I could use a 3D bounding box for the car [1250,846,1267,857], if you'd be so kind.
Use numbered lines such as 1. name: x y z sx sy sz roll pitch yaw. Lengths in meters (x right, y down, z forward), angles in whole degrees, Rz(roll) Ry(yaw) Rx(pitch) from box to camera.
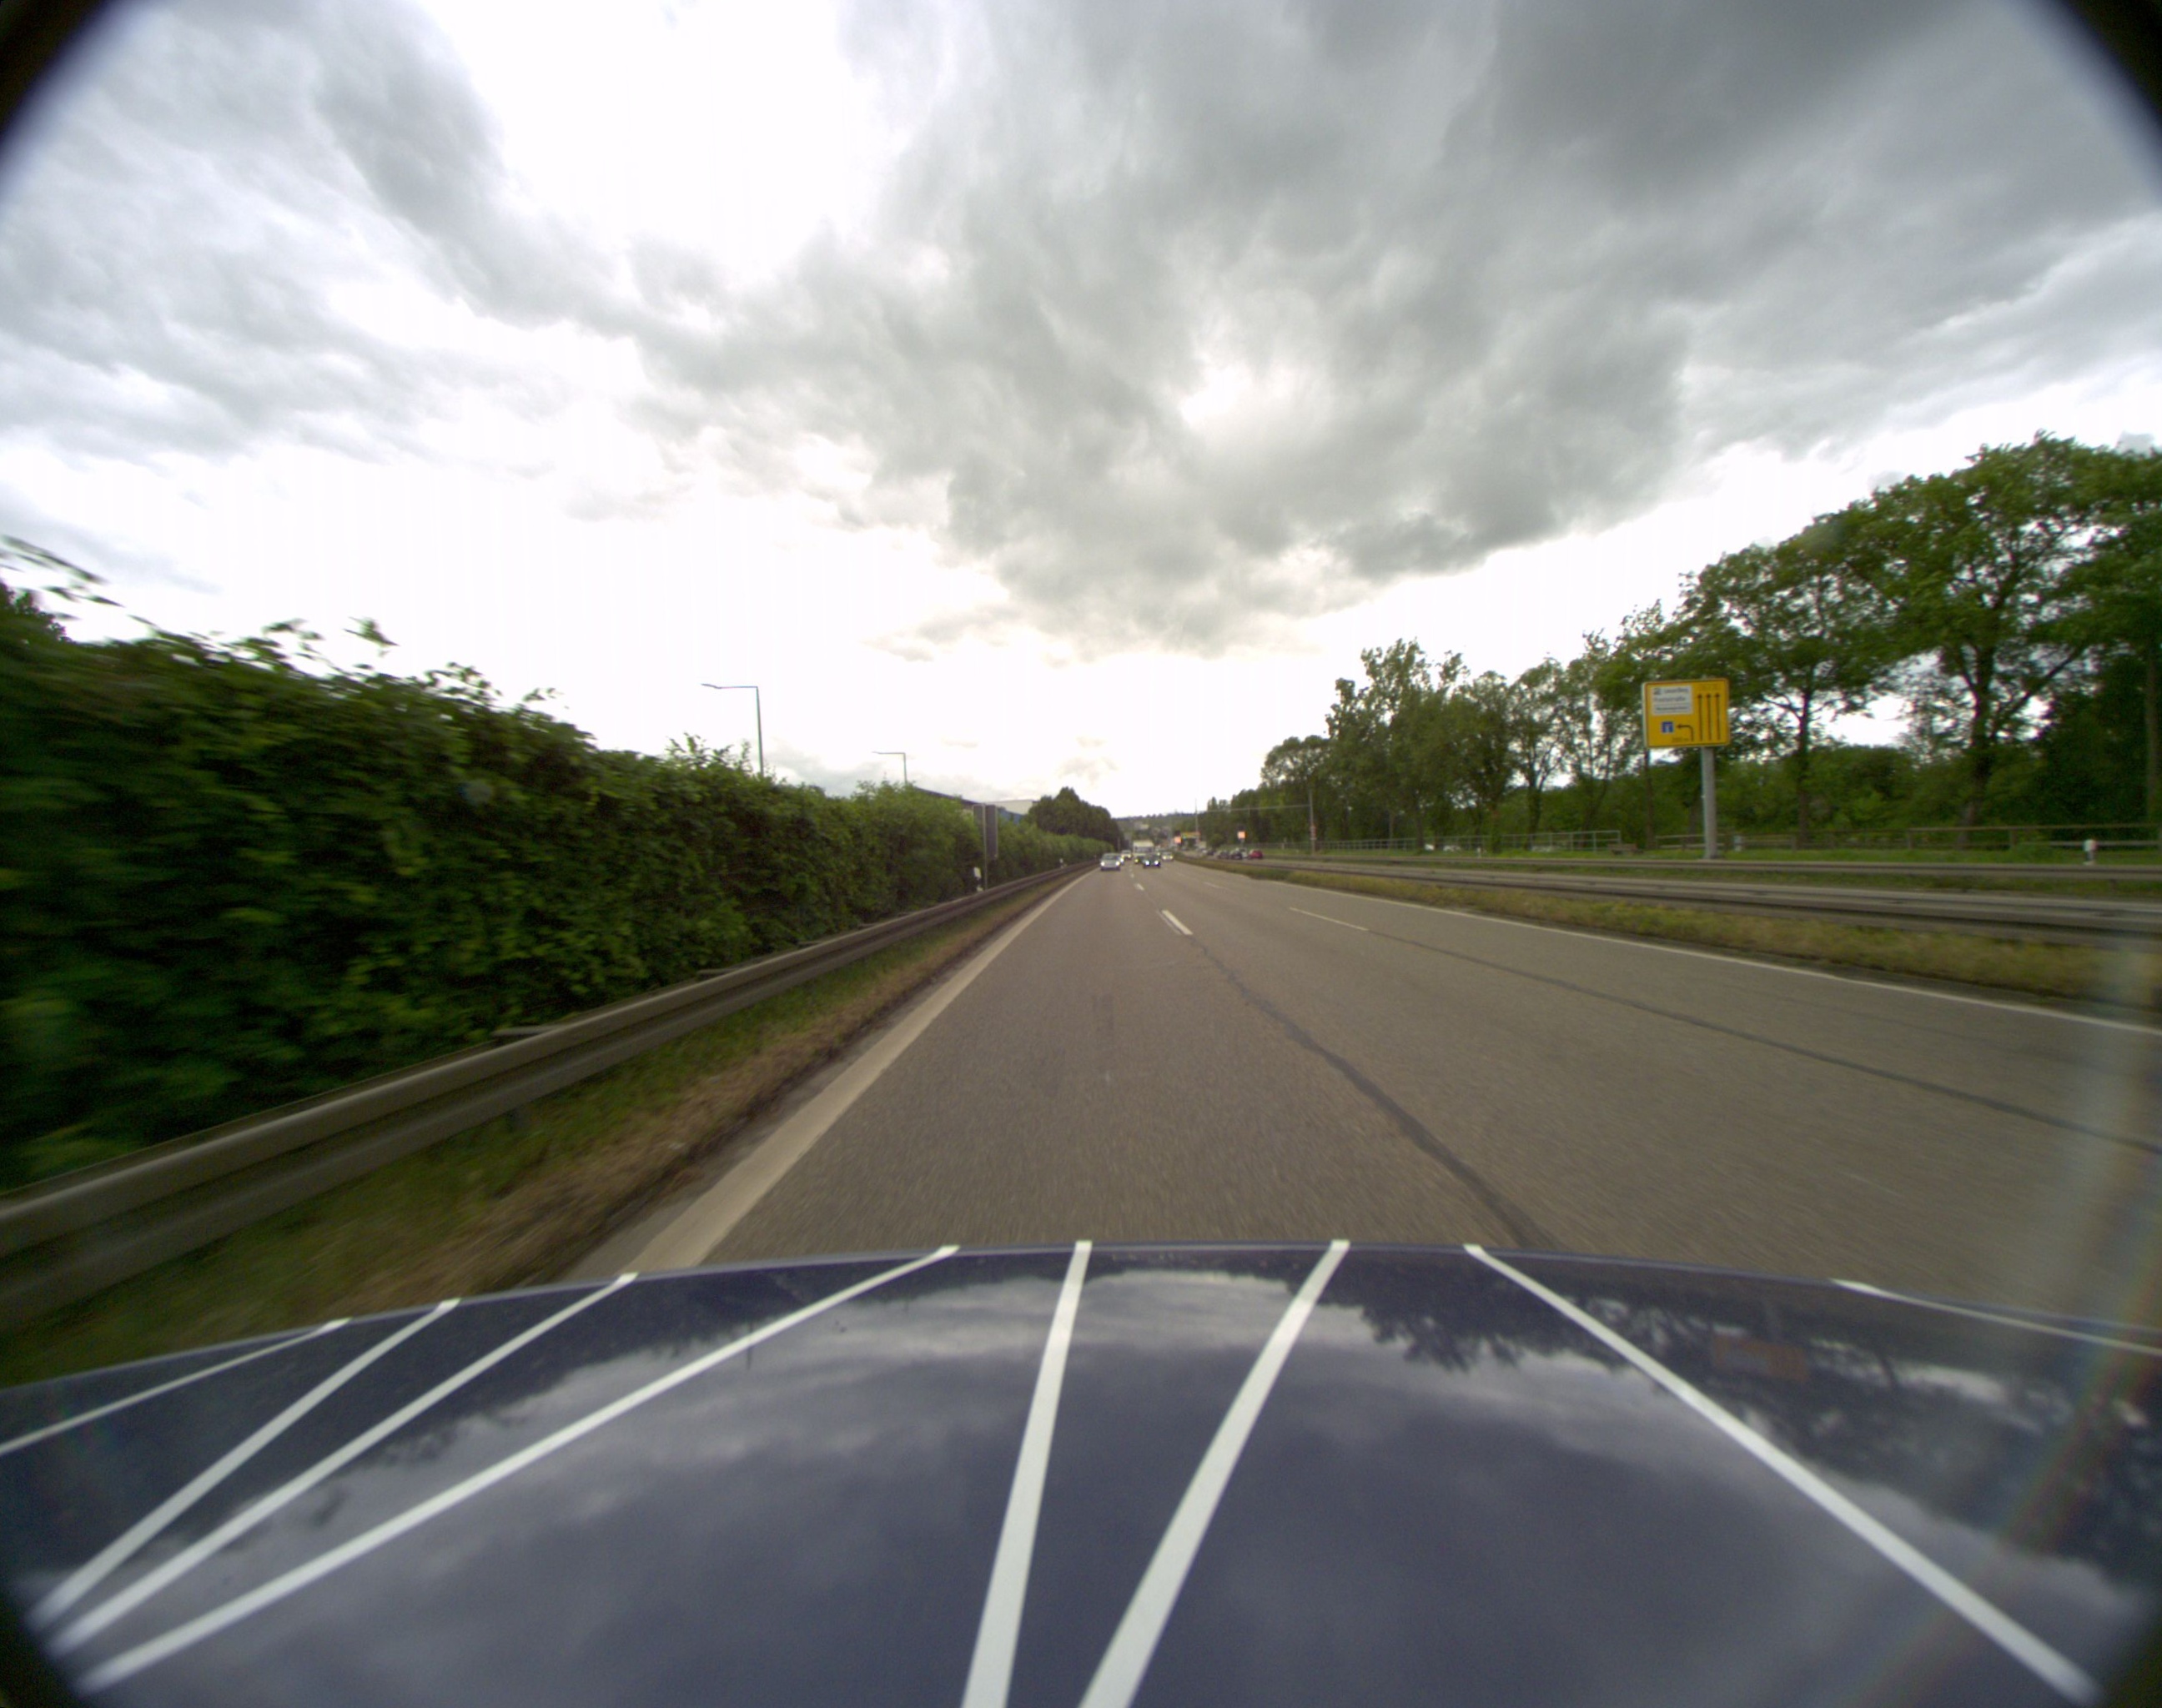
1. car: 26.168 -0.358 112.089 1.721 1.456 4.381 -2 0 3

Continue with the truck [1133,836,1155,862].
1. truck: 8.644 -0.615 103.925 2.656 3.120 12.513 -3 0 5

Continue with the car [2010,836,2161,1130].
1. car: 6.995 0.730 3.024 1.702 1.676 4.000 0 0 0

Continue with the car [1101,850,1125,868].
1. car: 2.986 0.488 70.214 1.883 1.530 4.148 -3 0 5

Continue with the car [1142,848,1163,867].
1. car: 7.089 0.336 75.425 1.883 1.714 4.148 -3 0 5

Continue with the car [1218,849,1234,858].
1. car: 23.577 -0.070 123.612 1.865 1.456 5.552 -2 0 3

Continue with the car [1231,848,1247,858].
1. car: 22.277 -0.133 107.112 1.664 1.415 3.912 -2 0 3

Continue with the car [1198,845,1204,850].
1. car: 40.301 -2.088 255.605 1.701 1.595 4.540 0 0 6

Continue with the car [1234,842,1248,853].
1. car: 26.813 -1.093 127.285 1.614 1.873 4.562 -2 0 3

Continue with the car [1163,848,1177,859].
1. car: 13.956 -0.069 119.340 1.883 1.714 4.148 -3 0 5

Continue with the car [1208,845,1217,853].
1. car: 29.668 -1.057 171.335 1.730 1.764 3.743 -2 0 5

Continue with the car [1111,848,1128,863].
1. car: 4.880 0.156 95.771 1.883 1.714 4.148 -3 0 5

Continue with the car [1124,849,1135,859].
1. car: 9.303 -0.015 144.867 1.883 1.714 4.148 -3 0 5

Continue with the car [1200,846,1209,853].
1. car: 33.688 -1.244 207.301 1.871 1.665 4.720 -1 0 4
